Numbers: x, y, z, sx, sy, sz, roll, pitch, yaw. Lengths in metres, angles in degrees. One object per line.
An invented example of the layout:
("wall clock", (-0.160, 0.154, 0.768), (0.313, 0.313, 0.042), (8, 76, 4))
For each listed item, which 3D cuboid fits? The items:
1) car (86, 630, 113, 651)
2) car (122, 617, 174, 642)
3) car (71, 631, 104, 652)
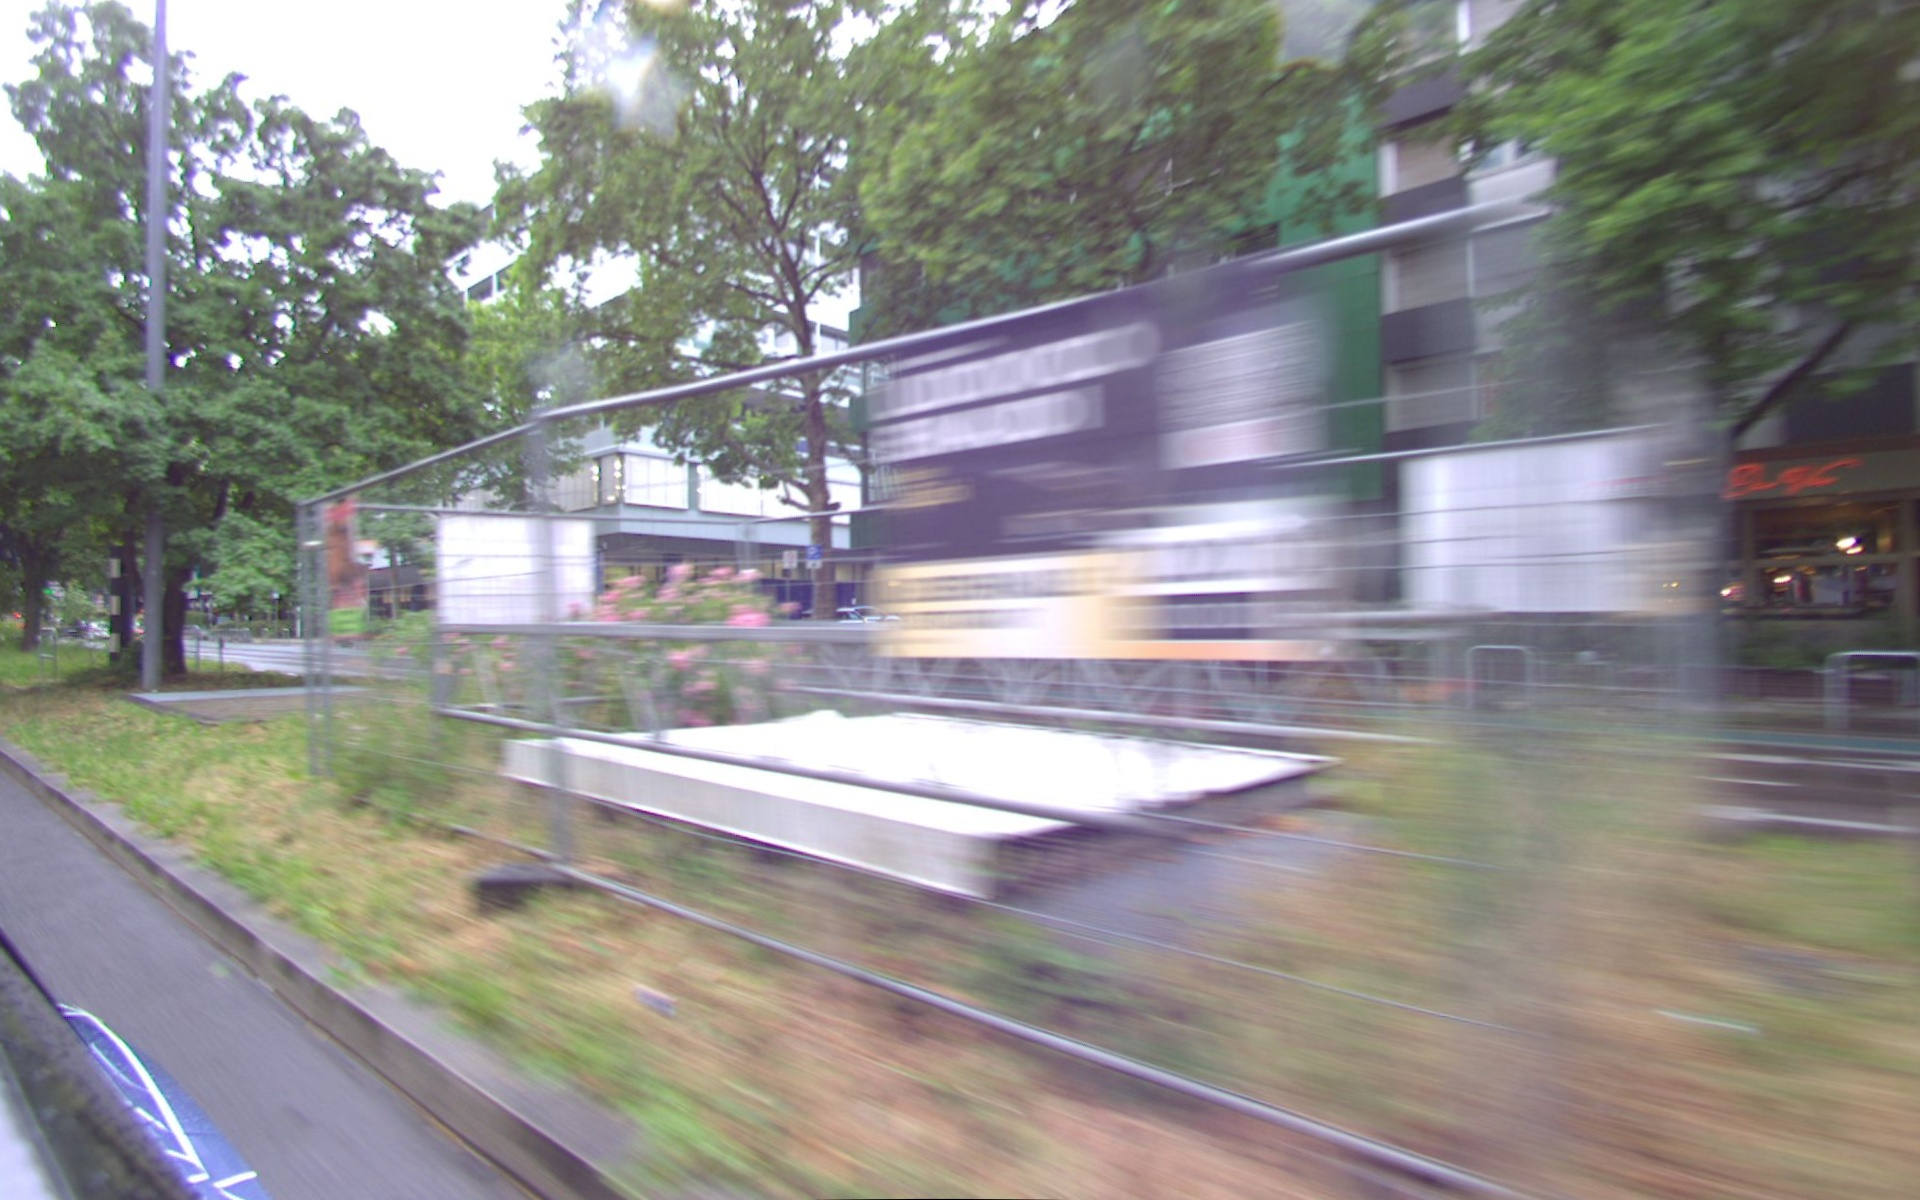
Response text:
("car", (-62.545, 2.936, 73.544), (3.561, 1.473, 1.148), (-2, -2, 44))
("car", (-50.891, 1.866, 63.402), (4.757, 1.503, 1.971), (-2, -3, 44))
("car", (-76.904, 3.618, 89.148), (1.970, 1.815, 4.285), (1, -2, -43))
